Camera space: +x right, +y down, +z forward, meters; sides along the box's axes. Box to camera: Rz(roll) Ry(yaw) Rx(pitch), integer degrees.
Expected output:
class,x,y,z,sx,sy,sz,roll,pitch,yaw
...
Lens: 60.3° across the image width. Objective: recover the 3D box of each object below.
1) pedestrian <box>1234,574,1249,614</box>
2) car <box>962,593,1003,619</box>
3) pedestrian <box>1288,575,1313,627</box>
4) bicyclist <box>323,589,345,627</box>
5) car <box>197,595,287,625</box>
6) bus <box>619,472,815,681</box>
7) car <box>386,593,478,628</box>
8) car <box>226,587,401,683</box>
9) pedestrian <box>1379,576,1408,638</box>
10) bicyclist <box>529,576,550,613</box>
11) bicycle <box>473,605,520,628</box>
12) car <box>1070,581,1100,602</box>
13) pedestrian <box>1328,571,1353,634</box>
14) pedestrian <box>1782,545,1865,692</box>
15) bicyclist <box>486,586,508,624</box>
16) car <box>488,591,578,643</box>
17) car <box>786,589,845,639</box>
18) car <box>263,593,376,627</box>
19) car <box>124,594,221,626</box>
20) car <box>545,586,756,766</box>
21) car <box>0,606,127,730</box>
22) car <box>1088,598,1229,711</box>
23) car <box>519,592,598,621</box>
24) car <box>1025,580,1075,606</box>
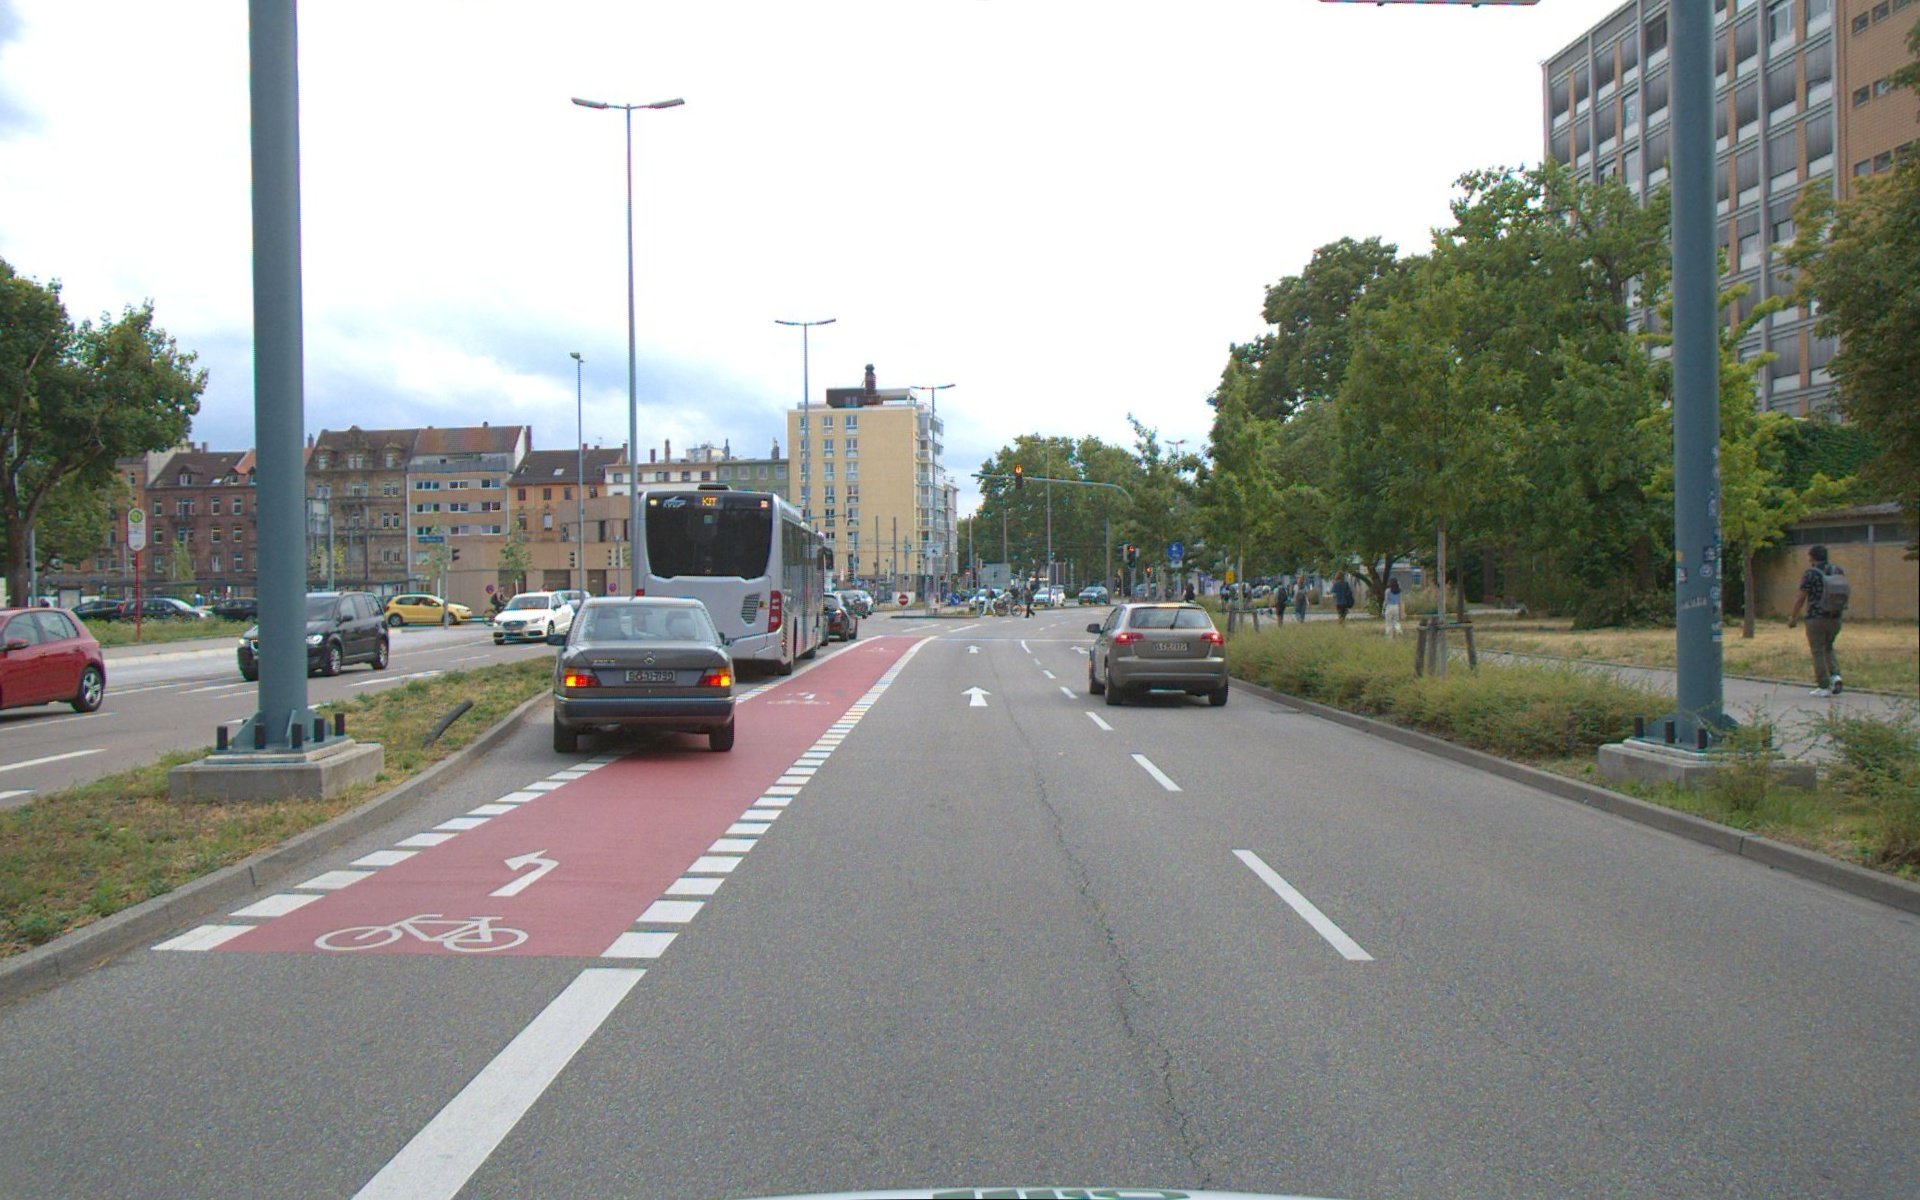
class,x,y,z,sx,sy,sz,roll,pitch,yaw
pedestrian,14.282,-0.298,83.950,0.601,2.049,0.597,0,0,-2
car,1.623,0.429,118.116,1.951,1.732,4.003,-1,1,16
pedestrian,11.396,0.031,55.377,0.784,1.743,0.765,-1,0,13
bicyclist,-28.024,0.351,74.055,0.771,1.672,0.572,-1,0,-5
car,-34.910,0.494,80.451,3.690,1.419,1.583,1,0,-5
bus,-4.408,-0.441,31.649,2.774,3.449,8.180,-1,1,-2
car,-24.571,0.478,77.067,3.781,1.544,1.659,0,0,-5
car,-12.819,0.642,33.068,1.765,1.694,4.300,-3,1,-1
pedestrian,10.639,0.163,40.598,0.643,1.496,0.562,-1,0,17
bicyclist,-18.982,-0.245,74.591,0.771,1.672,0.613,-1,0,-3
bicycle,-20.945,0.737,74.770,1.924,0.999,0.631,-1,0,-2
car,11.724,-0.814,155.155,1.769,1.883,4.001,-1,1,21
pedestrian,10.668,0.057,46.400,0.632,1.743,0.562,-1,0,15
pedestrian,10.328,0.215,19.798,0.575,1.712,0.748,-1,0,0
bicyclist,-20.937,0.233,74.785,0.770,1.672,0.572,-1,0,-2
car,-12.684,0.482,49.352,1.636,1.413,3.922,-2,1,0
car,-4.367,0.389,50.498,1.622,1.421,3.858,-1,1,-3
car,-29.570,0.452,76.463,4.578,1.501,1.659,1,0,-5
car,-36.379,0.457,76.460,3.689,1.419,1.583,1,0,-5
car,-3.184,0.639,16.403,1.732,1.515,4.154,-1,1,-15
car,-12.954,0.875,21.825,1.765,1.515,4.288,-1,1,-1
car,2.864,0.745,24.509,1.689,1.483,3.736,-1,1,1
car,-20.262,0.311,83.512,3.630,1.419,1.570,0,0,-28
car,7.903,-0.647,144.890,2.531,2.146,5.599,-1,1,23
